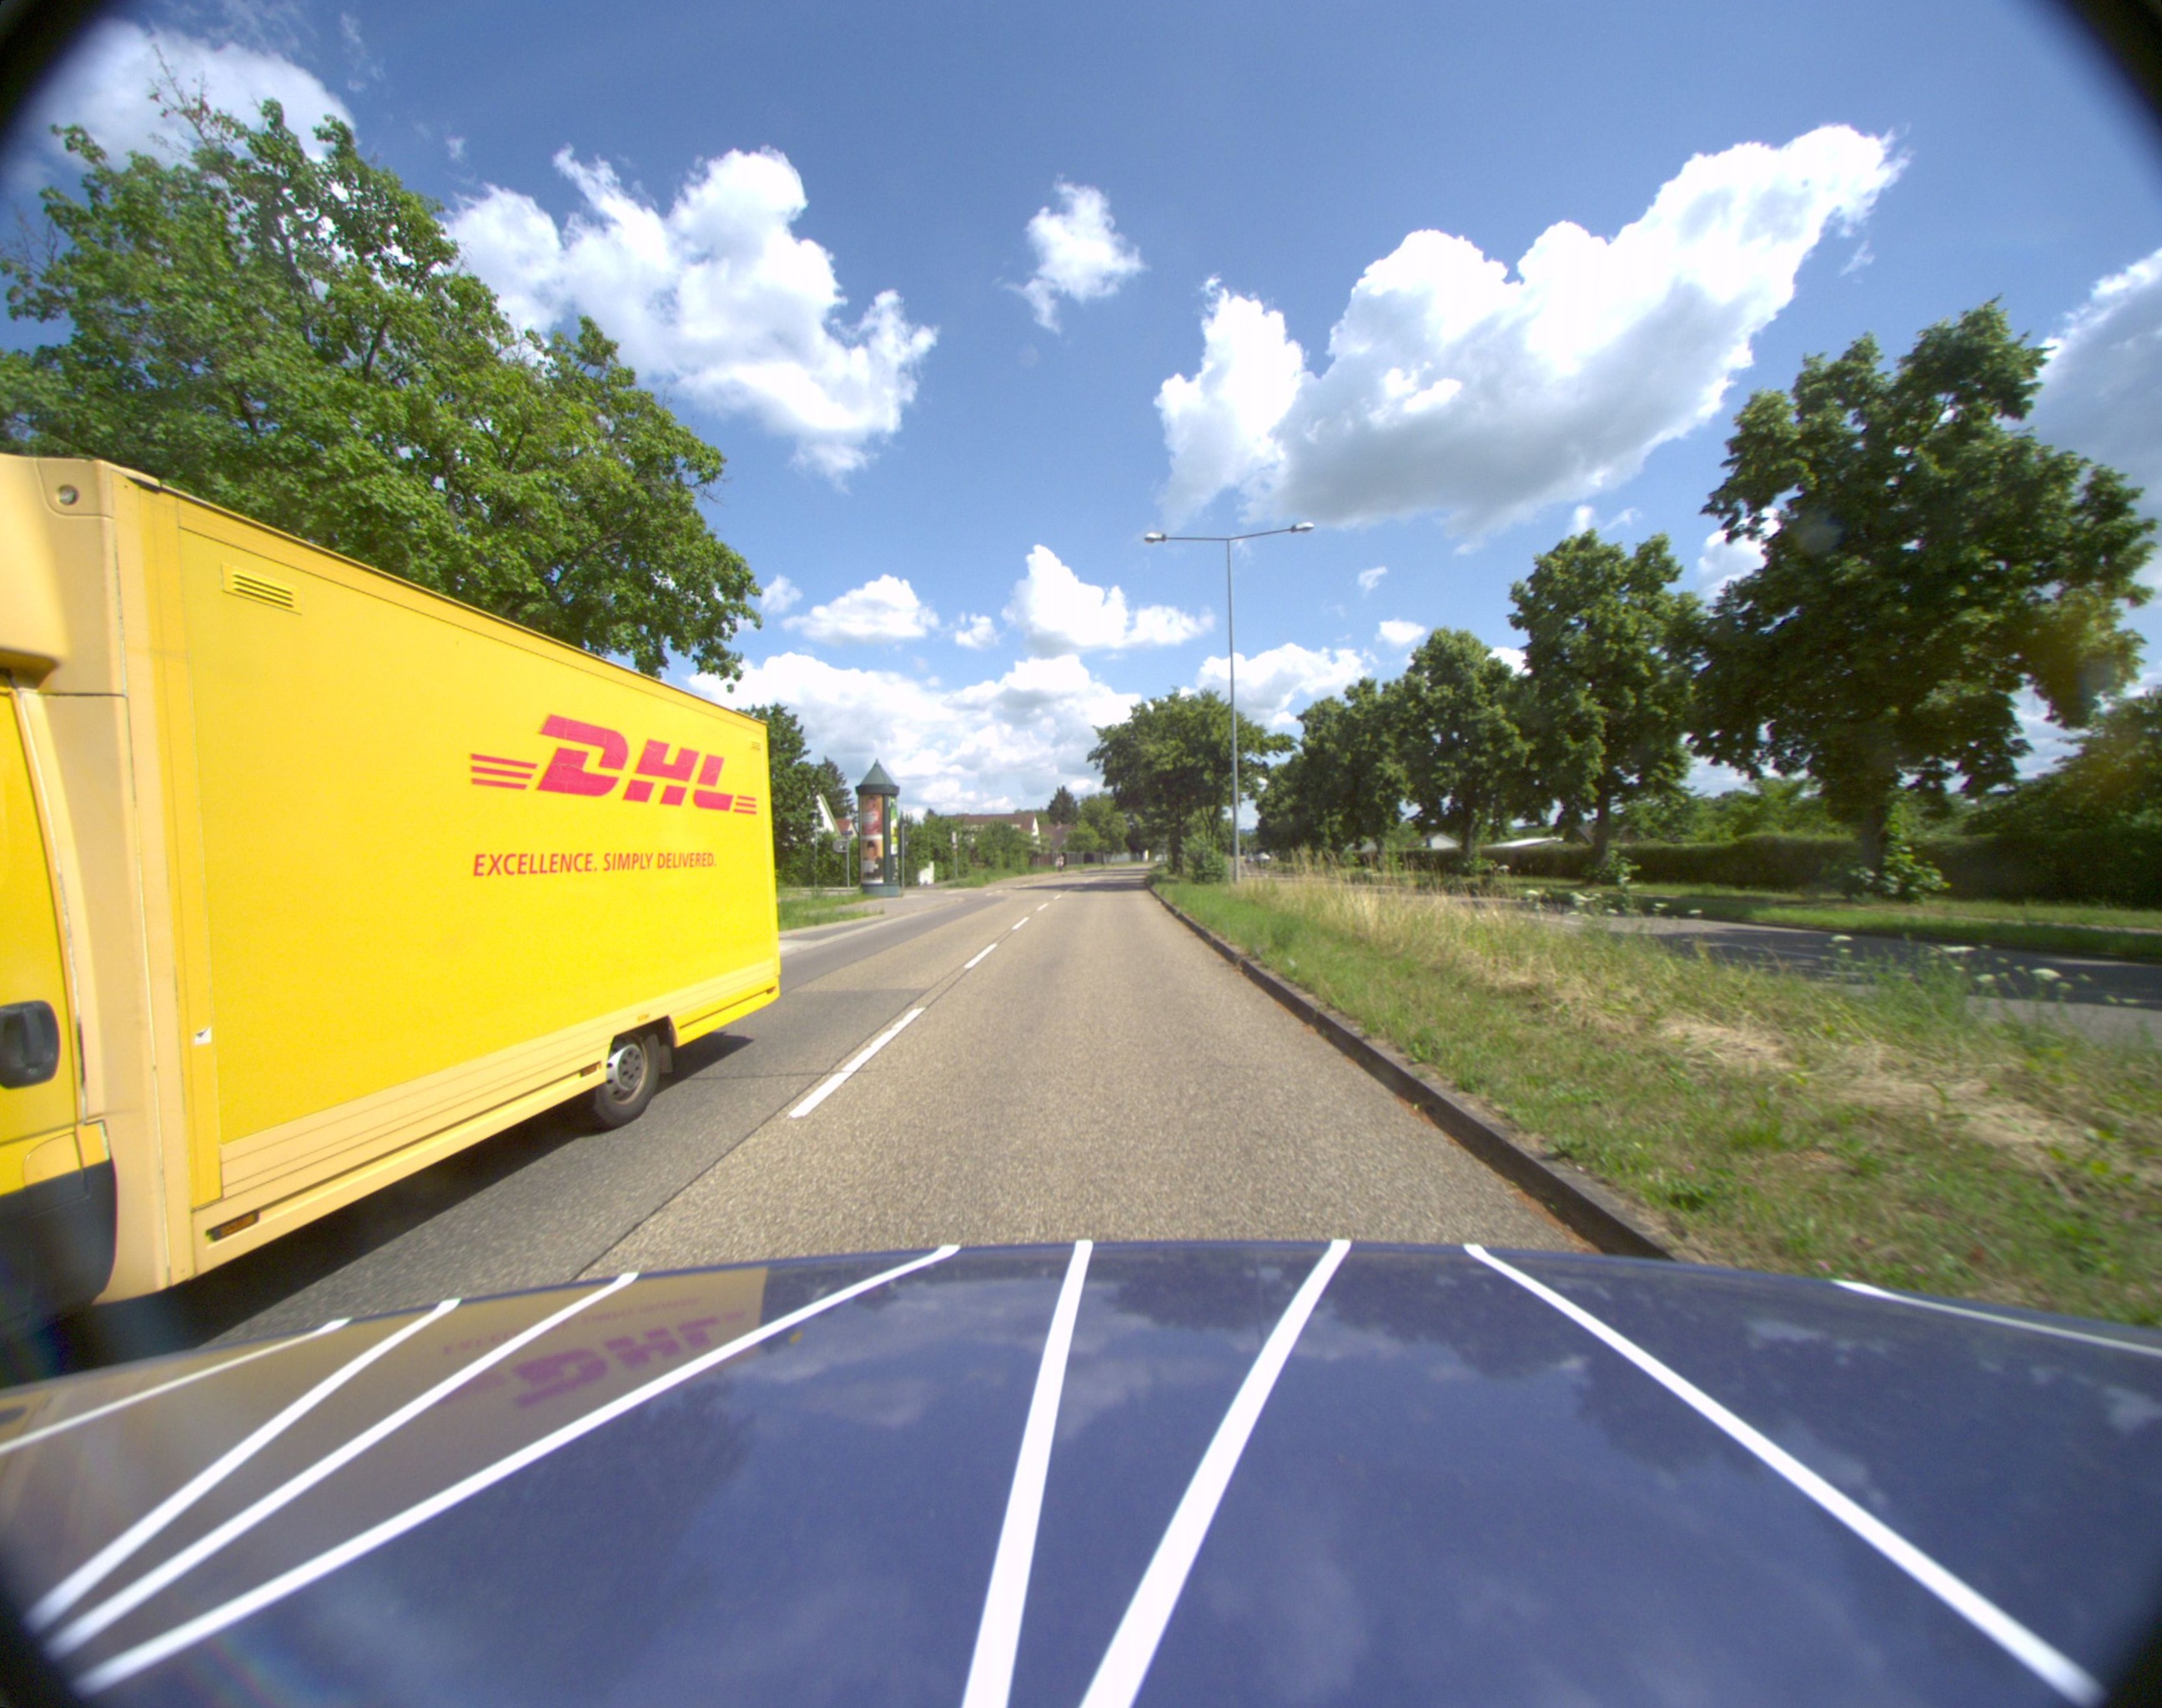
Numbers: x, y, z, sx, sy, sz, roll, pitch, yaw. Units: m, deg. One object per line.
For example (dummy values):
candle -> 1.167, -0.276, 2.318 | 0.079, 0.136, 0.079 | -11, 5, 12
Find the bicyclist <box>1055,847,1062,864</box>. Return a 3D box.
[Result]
bicyclist -> -2.268, 0.157, 76.356 | 0.620, 1.625, 0.700 | -1, 1, 7

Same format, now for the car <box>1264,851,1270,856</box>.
car -> 57.190, -0.164, 233.763 | 1.739, 1.577, 4.117 | 1, 0, 16

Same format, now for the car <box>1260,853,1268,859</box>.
car -> 49.365, 0.404, 204.797 | 1.739, 1.577, 4.117 | 1, 0, 16

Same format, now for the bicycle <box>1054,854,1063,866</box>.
bicycle -> -2.262, 0.604, 76.354 | 0.626, 1.145, 1.740 | -1, 0, 7

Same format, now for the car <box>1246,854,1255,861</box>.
car -> 35.730, 0.744, 159.732 | 1.739, 1.577, 4.117 | 1, 0, 14

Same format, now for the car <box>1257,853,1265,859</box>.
car -> 45.177, 0.427, 191.116 | 1.739, 1.577, 4.117 | 1, 0, 16

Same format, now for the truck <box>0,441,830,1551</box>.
truck -> -3.891, 0.386, 3.880 | 2.270, 2.863, 8.028 | -2, 0, 1
